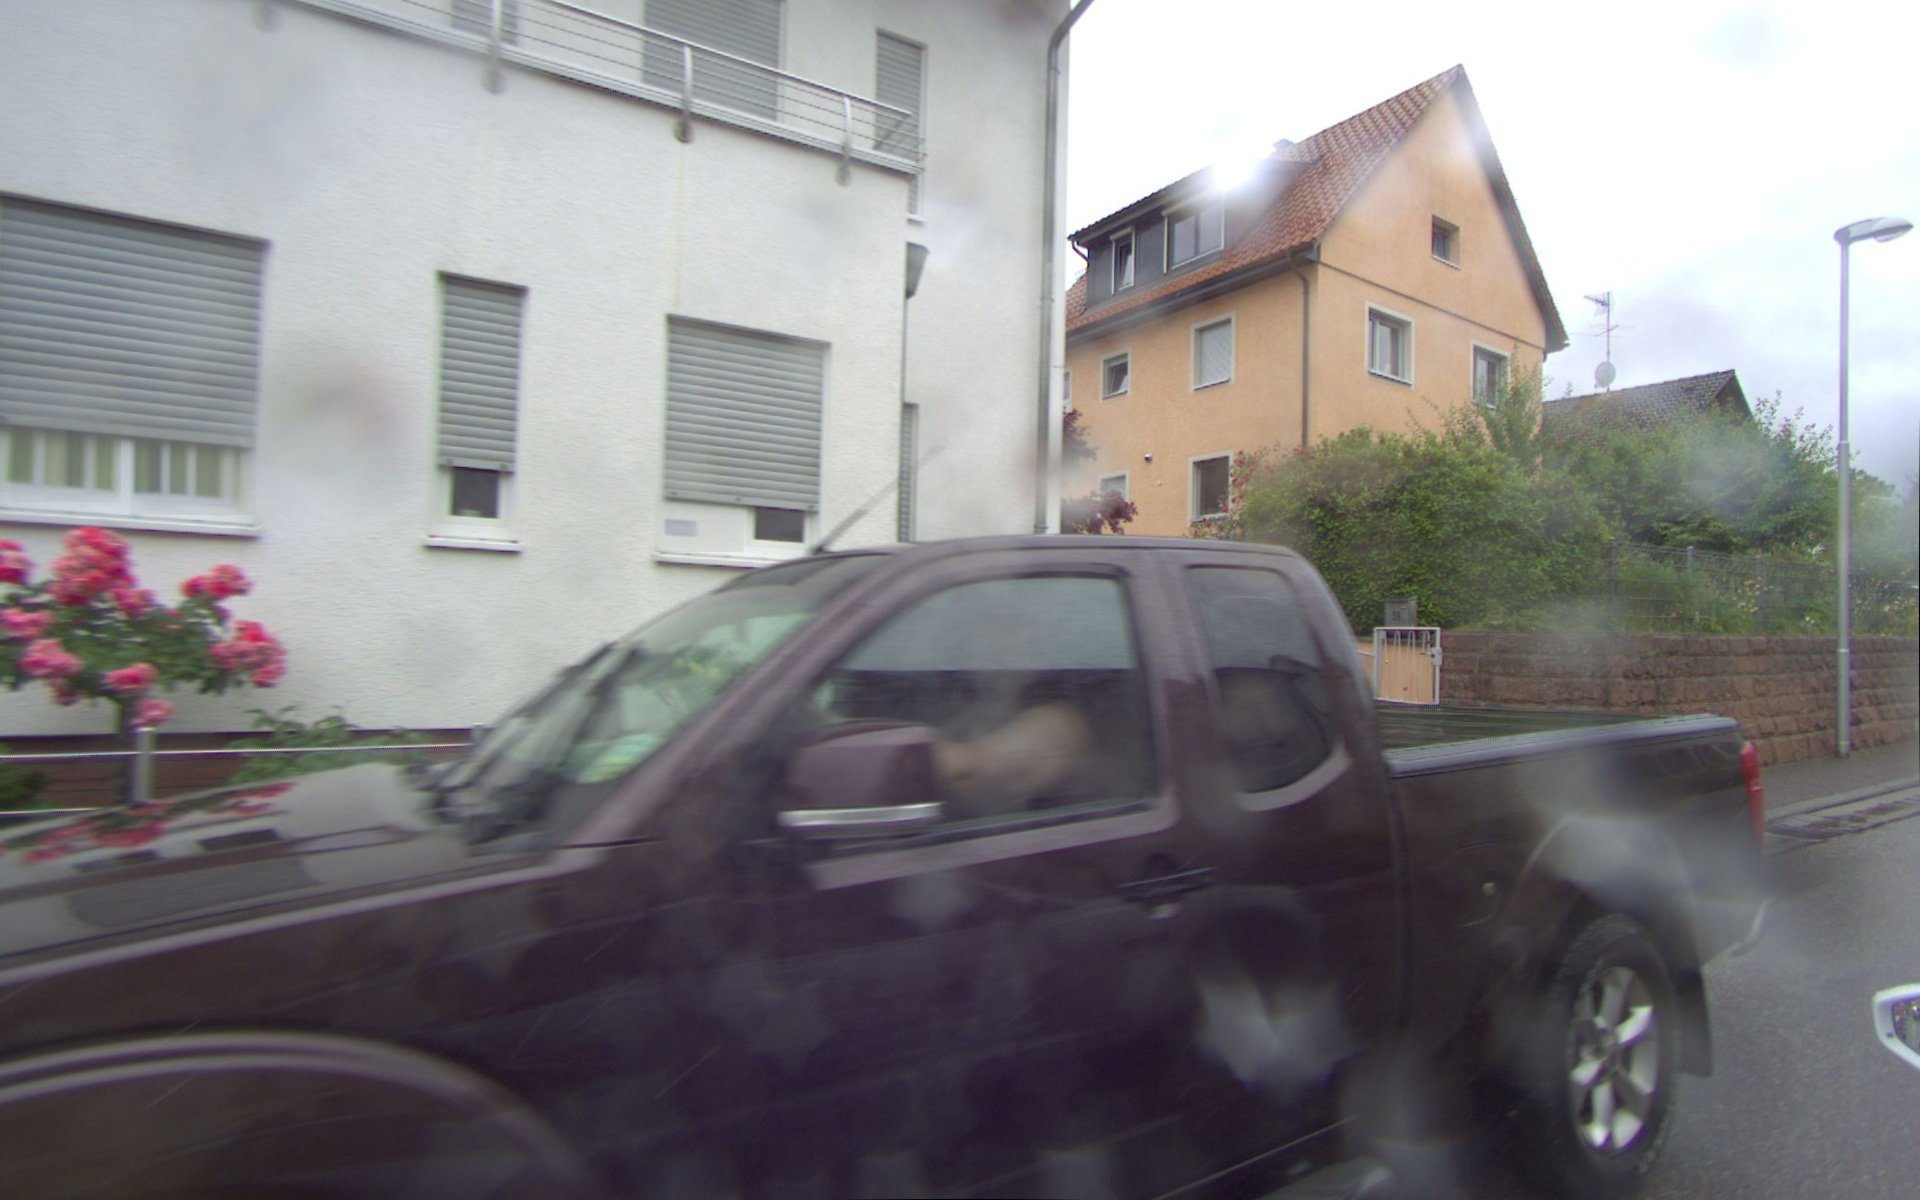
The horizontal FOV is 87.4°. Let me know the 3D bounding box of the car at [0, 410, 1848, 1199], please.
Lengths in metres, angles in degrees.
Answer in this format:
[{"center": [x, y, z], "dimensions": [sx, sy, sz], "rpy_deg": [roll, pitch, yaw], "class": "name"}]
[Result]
[{"center": [0.342, 0.775, 2.789], "dimensions": [5.141, 1.695, 1.824], "rpy_deg": [2, -3, -33], "class": "car"}]
